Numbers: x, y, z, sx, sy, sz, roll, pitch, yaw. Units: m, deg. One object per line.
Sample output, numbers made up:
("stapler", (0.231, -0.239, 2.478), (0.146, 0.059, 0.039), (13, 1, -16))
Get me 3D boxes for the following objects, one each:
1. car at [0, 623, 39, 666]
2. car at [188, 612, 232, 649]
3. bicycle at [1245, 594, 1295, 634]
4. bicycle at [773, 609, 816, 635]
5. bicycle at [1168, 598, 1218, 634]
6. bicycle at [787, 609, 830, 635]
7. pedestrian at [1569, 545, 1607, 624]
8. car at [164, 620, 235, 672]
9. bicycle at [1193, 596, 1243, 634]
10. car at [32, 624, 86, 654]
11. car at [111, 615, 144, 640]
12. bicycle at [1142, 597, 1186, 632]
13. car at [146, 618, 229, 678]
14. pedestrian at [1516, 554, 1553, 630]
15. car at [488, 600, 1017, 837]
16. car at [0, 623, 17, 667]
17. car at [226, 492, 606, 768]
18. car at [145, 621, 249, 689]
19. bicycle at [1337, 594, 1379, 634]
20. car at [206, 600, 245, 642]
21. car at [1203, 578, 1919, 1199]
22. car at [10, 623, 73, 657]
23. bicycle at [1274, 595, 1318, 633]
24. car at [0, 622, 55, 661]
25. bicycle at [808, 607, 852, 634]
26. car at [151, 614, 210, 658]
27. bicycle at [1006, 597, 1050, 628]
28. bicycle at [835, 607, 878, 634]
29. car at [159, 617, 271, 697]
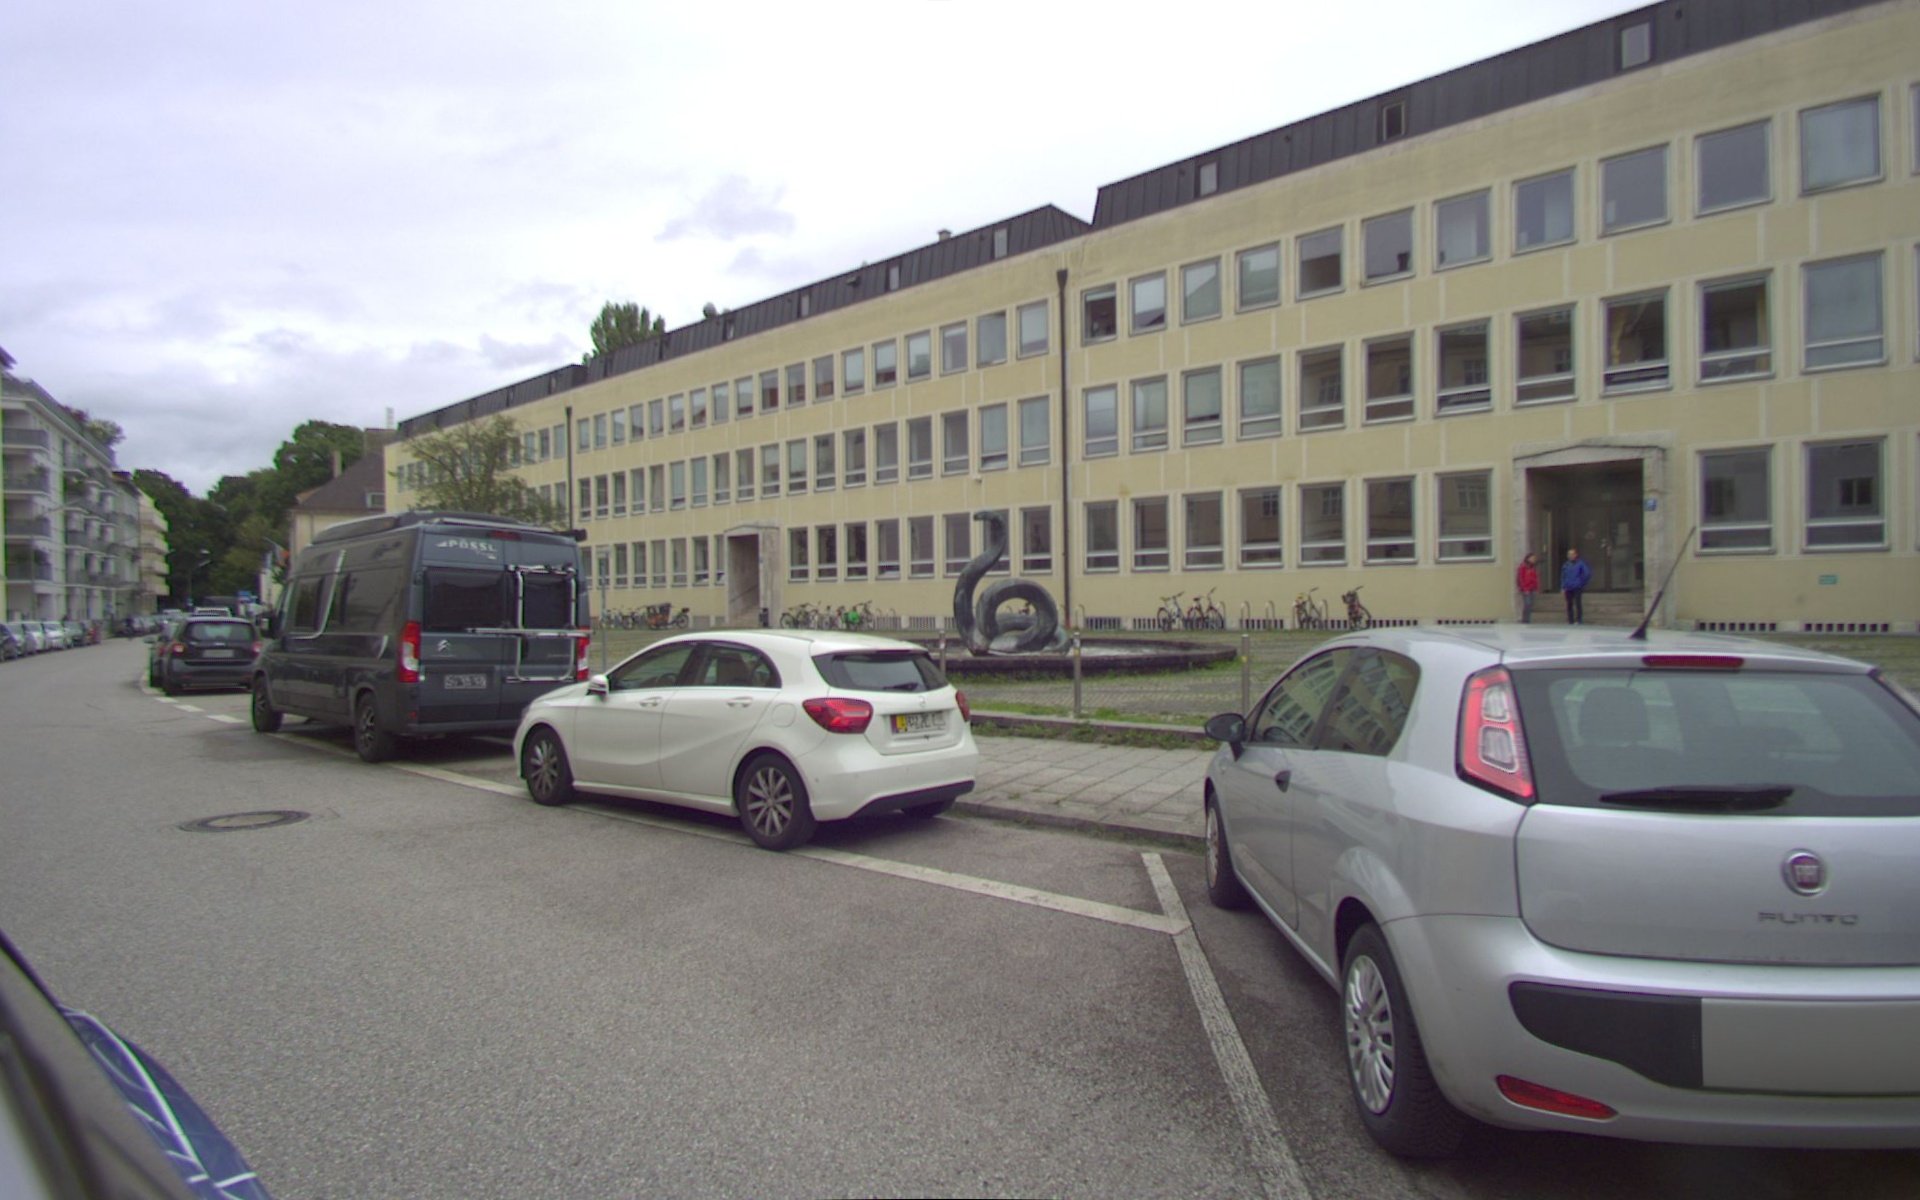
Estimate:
("car", (-39.499, 1.837, 41.706), (1.754, 1.603, 3.711), (-3, 2, -35))
("car", (-42.009, 1.672, 56.640), (1.919, 1.991, 4.365), (1, -1, -37))
("bicycle", (8.502, 0.371, 27.738), (0.532, 0.986, 1.858), (-1, 2, 43))
("bicycle", (-6.723, 0.899, 41.135), (0.437, 0.923, 1.882), (-1, 2, 39))
("bicycle", (6.763, 0.451, 29.325), (0.532, 0.947, 1.858), (-1, 2, 43))
("bicycle", (-6.068, 0.868, 40.587), (0.437, 0.923, 1.882), (-1, 2, 39))
("pedestrian", (14.401, -0.354, 23.195), (0.645, 1.757, 0.708), (-1, 2, 37))
("car", (-24.177, 1.402, 32.156), (1.699, 1.492, 4.214), (1, -1, -38))
("bicycle", (7.341, 0.414, 28.759), (0.532, 0.975, 1.858), (-1, 2, 43))
("car", (-48.292, 2.053, 54.317), (1.715, 1.385, 4.032), (-3, 2, -36))
("car", (-64.476, 2.091, 78.401), (1.613, 1.748, 3.890), (-3, 2, -35))
("bicycle", (6.066, 0.416, 30.009), (0.437, 0.923, 1.882), (-1, 2, 39))
("car", (-21.135, 1.243, 27.708), (1.699, 1.492, 3.762), (1, -1, -38))
("pedestrian", (13.549, -0.188, 23.846), (0.645, 1.757, 0.708), (-1, 2, 37))
("car", (-1.764, 0.781, 7.982), (4.135, 1.398, 1.810), (-1, -4, 37))
("car", (-36.990, 1.734, 37.998), (1.754, 1.603, 3.711), (-3, 2, -35))
("car", (-6.893, 0.330, 12.378), (6.209, 2.594, 2.121), (-1, -1, 42))
("car", (-17.810, 1.217, 23.546), (1.699, 1.374, 4.220), (2, -2, -40))
("bicycle", (10.321, 0.340, 26.203), (0.437, 0.923, 1.882), (-1, 2, 39))
("car", (-49.266, 1.381, 67.926), (1.967, 2.738, 4.972), (1, -1, -35))
("car", (2.132, 0.733, 3.973), (1.654, 1.541, 3.977), (-2, 1, 5))
("car", (-45.382, 1.932, 50.091), (1.813, 1.469, 4.032), (-3, 2, -36))
("bicycle", (9.052, 0.371, 27.230), (0.437, 0.923, 1.882), (-1, 2, 39))
("car", (-42.710, 1.860, 46.056), (1.754, 1.603, 3.711), (-3, 2, -35))
("bicycle", (-5.109, 0.801, 39.820), (0.437, 0.923, 1.882), (-1, 2, 39))
("car", (-31.108, 1.392, 40.455), (1.718, 1.557, 4.092), (-3, 2, -37))
("bicycle", (2.287, 0.401, 33.981), (0.437, 0.923, 1.882), (-1, 2, 39))
("bicycle", (-3.956, 0.775, 38.813), (0.437, 0.923, 1.882), (-1, 2, 39))
("car", (-15.036, 1.092, 20.386), (1.645, 1.471, 2.873), (2, -2, -39))
